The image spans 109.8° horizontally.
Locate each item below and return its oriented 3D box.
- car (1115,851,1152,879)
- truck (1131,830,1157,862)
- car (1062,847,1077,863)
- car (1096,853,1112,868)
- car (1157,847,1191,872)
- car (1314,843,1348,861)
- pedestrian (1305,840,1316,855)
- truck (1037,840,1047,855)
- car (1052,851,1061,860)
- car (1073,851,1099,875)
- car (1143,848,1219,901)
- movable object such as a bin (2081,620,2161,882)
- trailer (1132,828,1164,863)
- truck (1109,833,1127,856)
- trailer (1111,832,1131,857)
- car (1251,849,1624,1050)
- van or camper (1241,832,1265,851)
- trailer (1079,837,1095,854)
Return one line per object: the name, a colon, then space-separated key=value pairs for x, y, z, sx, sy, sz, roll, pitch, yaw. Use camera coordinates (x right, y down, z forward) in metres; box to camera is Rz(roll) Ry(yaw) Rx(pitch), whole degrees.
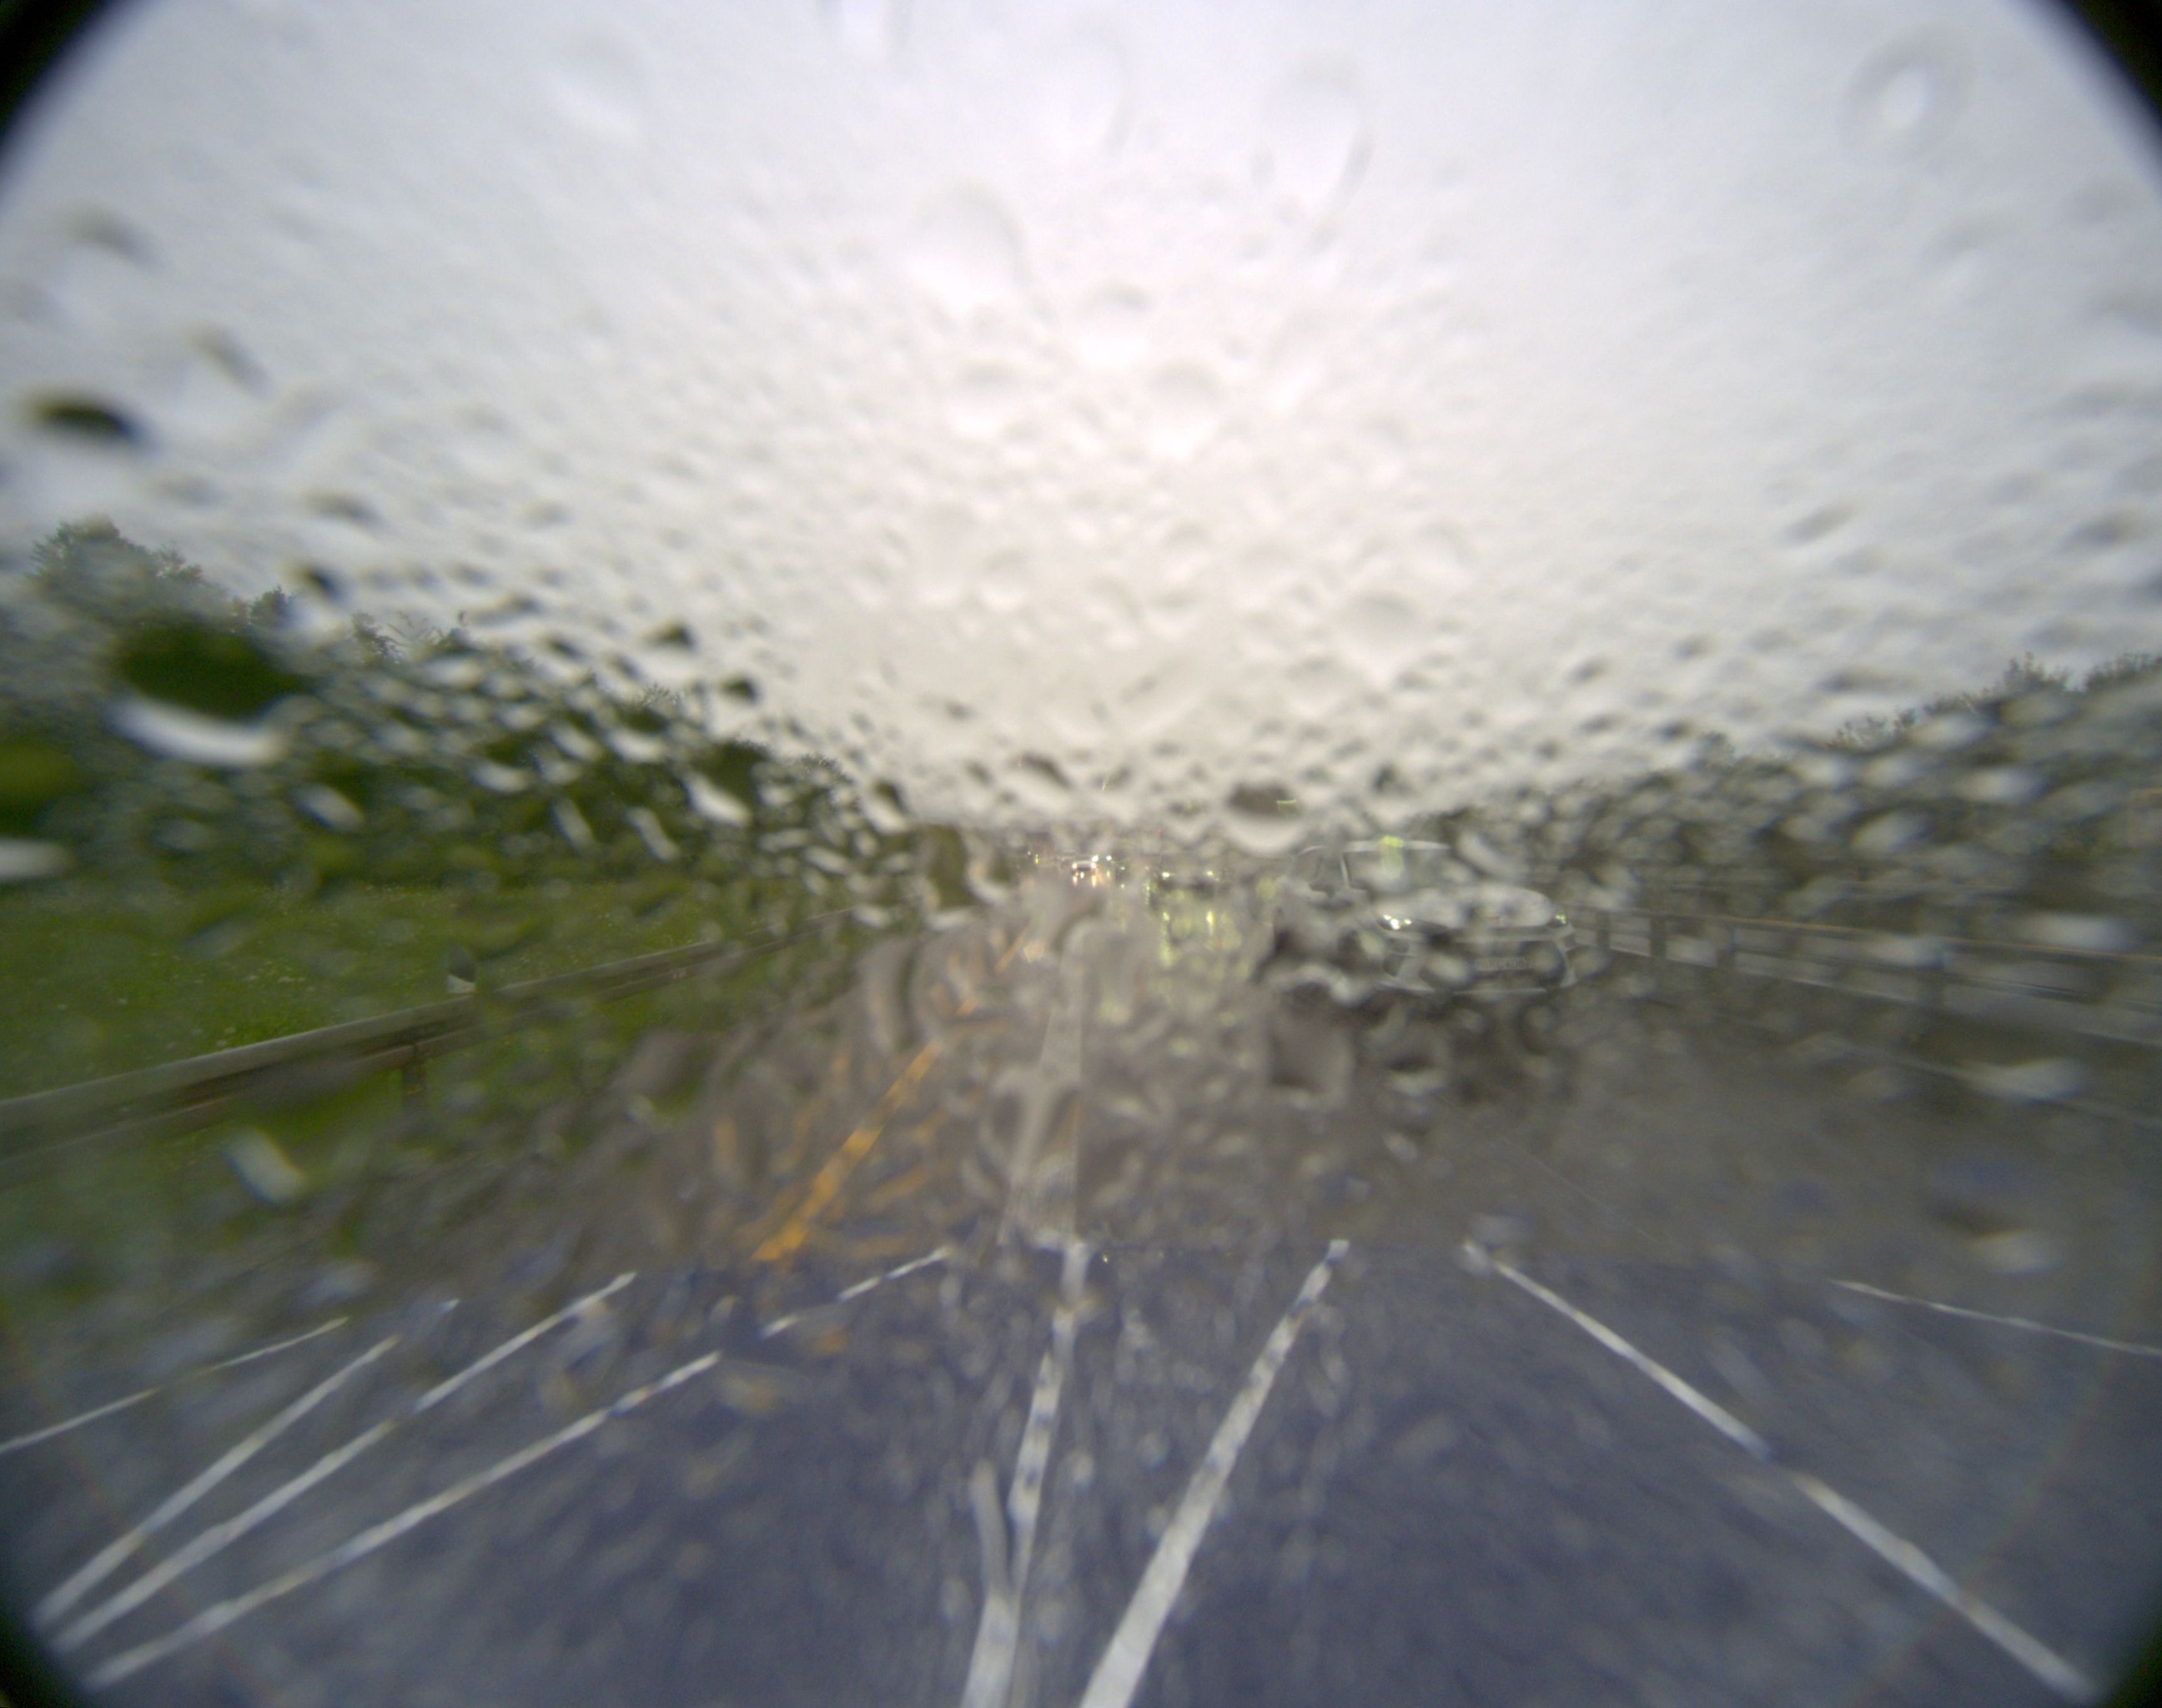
car: x=3.063 y=0.613 z=44.878 sx=1.792 sy=1.481 sz=3.999 roll=-3 pitch=1 yaw=0
truck: x=8.400 y=-0.994 z=102.109 sx=2.891 sy=4.077 sz=6.926 roll=-1 pitch=0 yaw=0
car: x=-1.352 y=0.078 z=87.221 sx=1.673 sy=1.804 sz=3.999 roll=-1 pitch=1 yaw=-2
car: x=2.604 y=0.728 z=86.264 sx=1.590 sy=1.528 sz=3.830 roll=-1 pitch=1 yaw=-1
car: x=6.462 y=0.333 z=53.203 sx=1.806 sy=1.584 sz=4.183 roll=-3 pitch=1 yaw=0
car: x=29.293 y=-0.225 z=89.186 sx=2.099 sy=1.955 sz=5.363 roll=-2 pitch=1 yaw=-2
pedestrian: x=32.036 y=-0.958 z=106.218 sx=1.108 sy=2.002 sz=1.125 roll=-3 pitch=1 yaw=-5
truck: x=-11.219 y=-2.030 z=219.363 sx=2.507 sy=4.067 sz=15.196 roll=-3 pitch=1 yaw=-2
car: x=-4.718 y=0.277 z=147.102 sx=1.674 sy=1.804 sz=3.998 roll=-1 pitch=1 yaw=-3
car: x=0.350 y=0.676 z=60.849 sx=1.881 sy=1.772 sz=3.998 roll=-1 pitch=1 yaw=-3
car: x=3.353 y=0.631 z=26.539 sx=2.069 sy=1.618 sz=5.195 roll=-2 pitch=1 yaw=2
movable object such as a bin: x=26.135 y=-2.326 z=12.837 sx=4.180 sy=5.881 sz=11.045 roll=-3 pitch=1 yaw=3
trailer: x=8.369 y=-1.007 z=96.288 sx=2.914 sy=4.065 sz=12.219 roll=-1 pitch=0 yaw=0
truck: x=6.707 y=-1.788 z=138.458 sx=2.490 sy=4.008 sz=6.445 roll=-2 pitch=1 yaw=-2
trailer: x=6.817 y=-1.680 z=131.980 sx=2.501 sy=4.026 sz=12.583 roll=-1 pitch=1 yaw=-1
car: x=3.401 y=0.751 z=8.559 sx=1.932 sy=1.542 sz=5.006 roll=-1 pitch=1 yaw=1
van or camper: x=41.058 y=-2.971 z=181.656 sx=3.376 sy=4.299 sz=8.502 roll=-3 pitch=1 yaw=-3
trailer: x=1.449 y=-2.210 z=194.946 sx=2.608 sy=4.054 sz=12.423 roll=-2 pitch=1 yaw=-6
